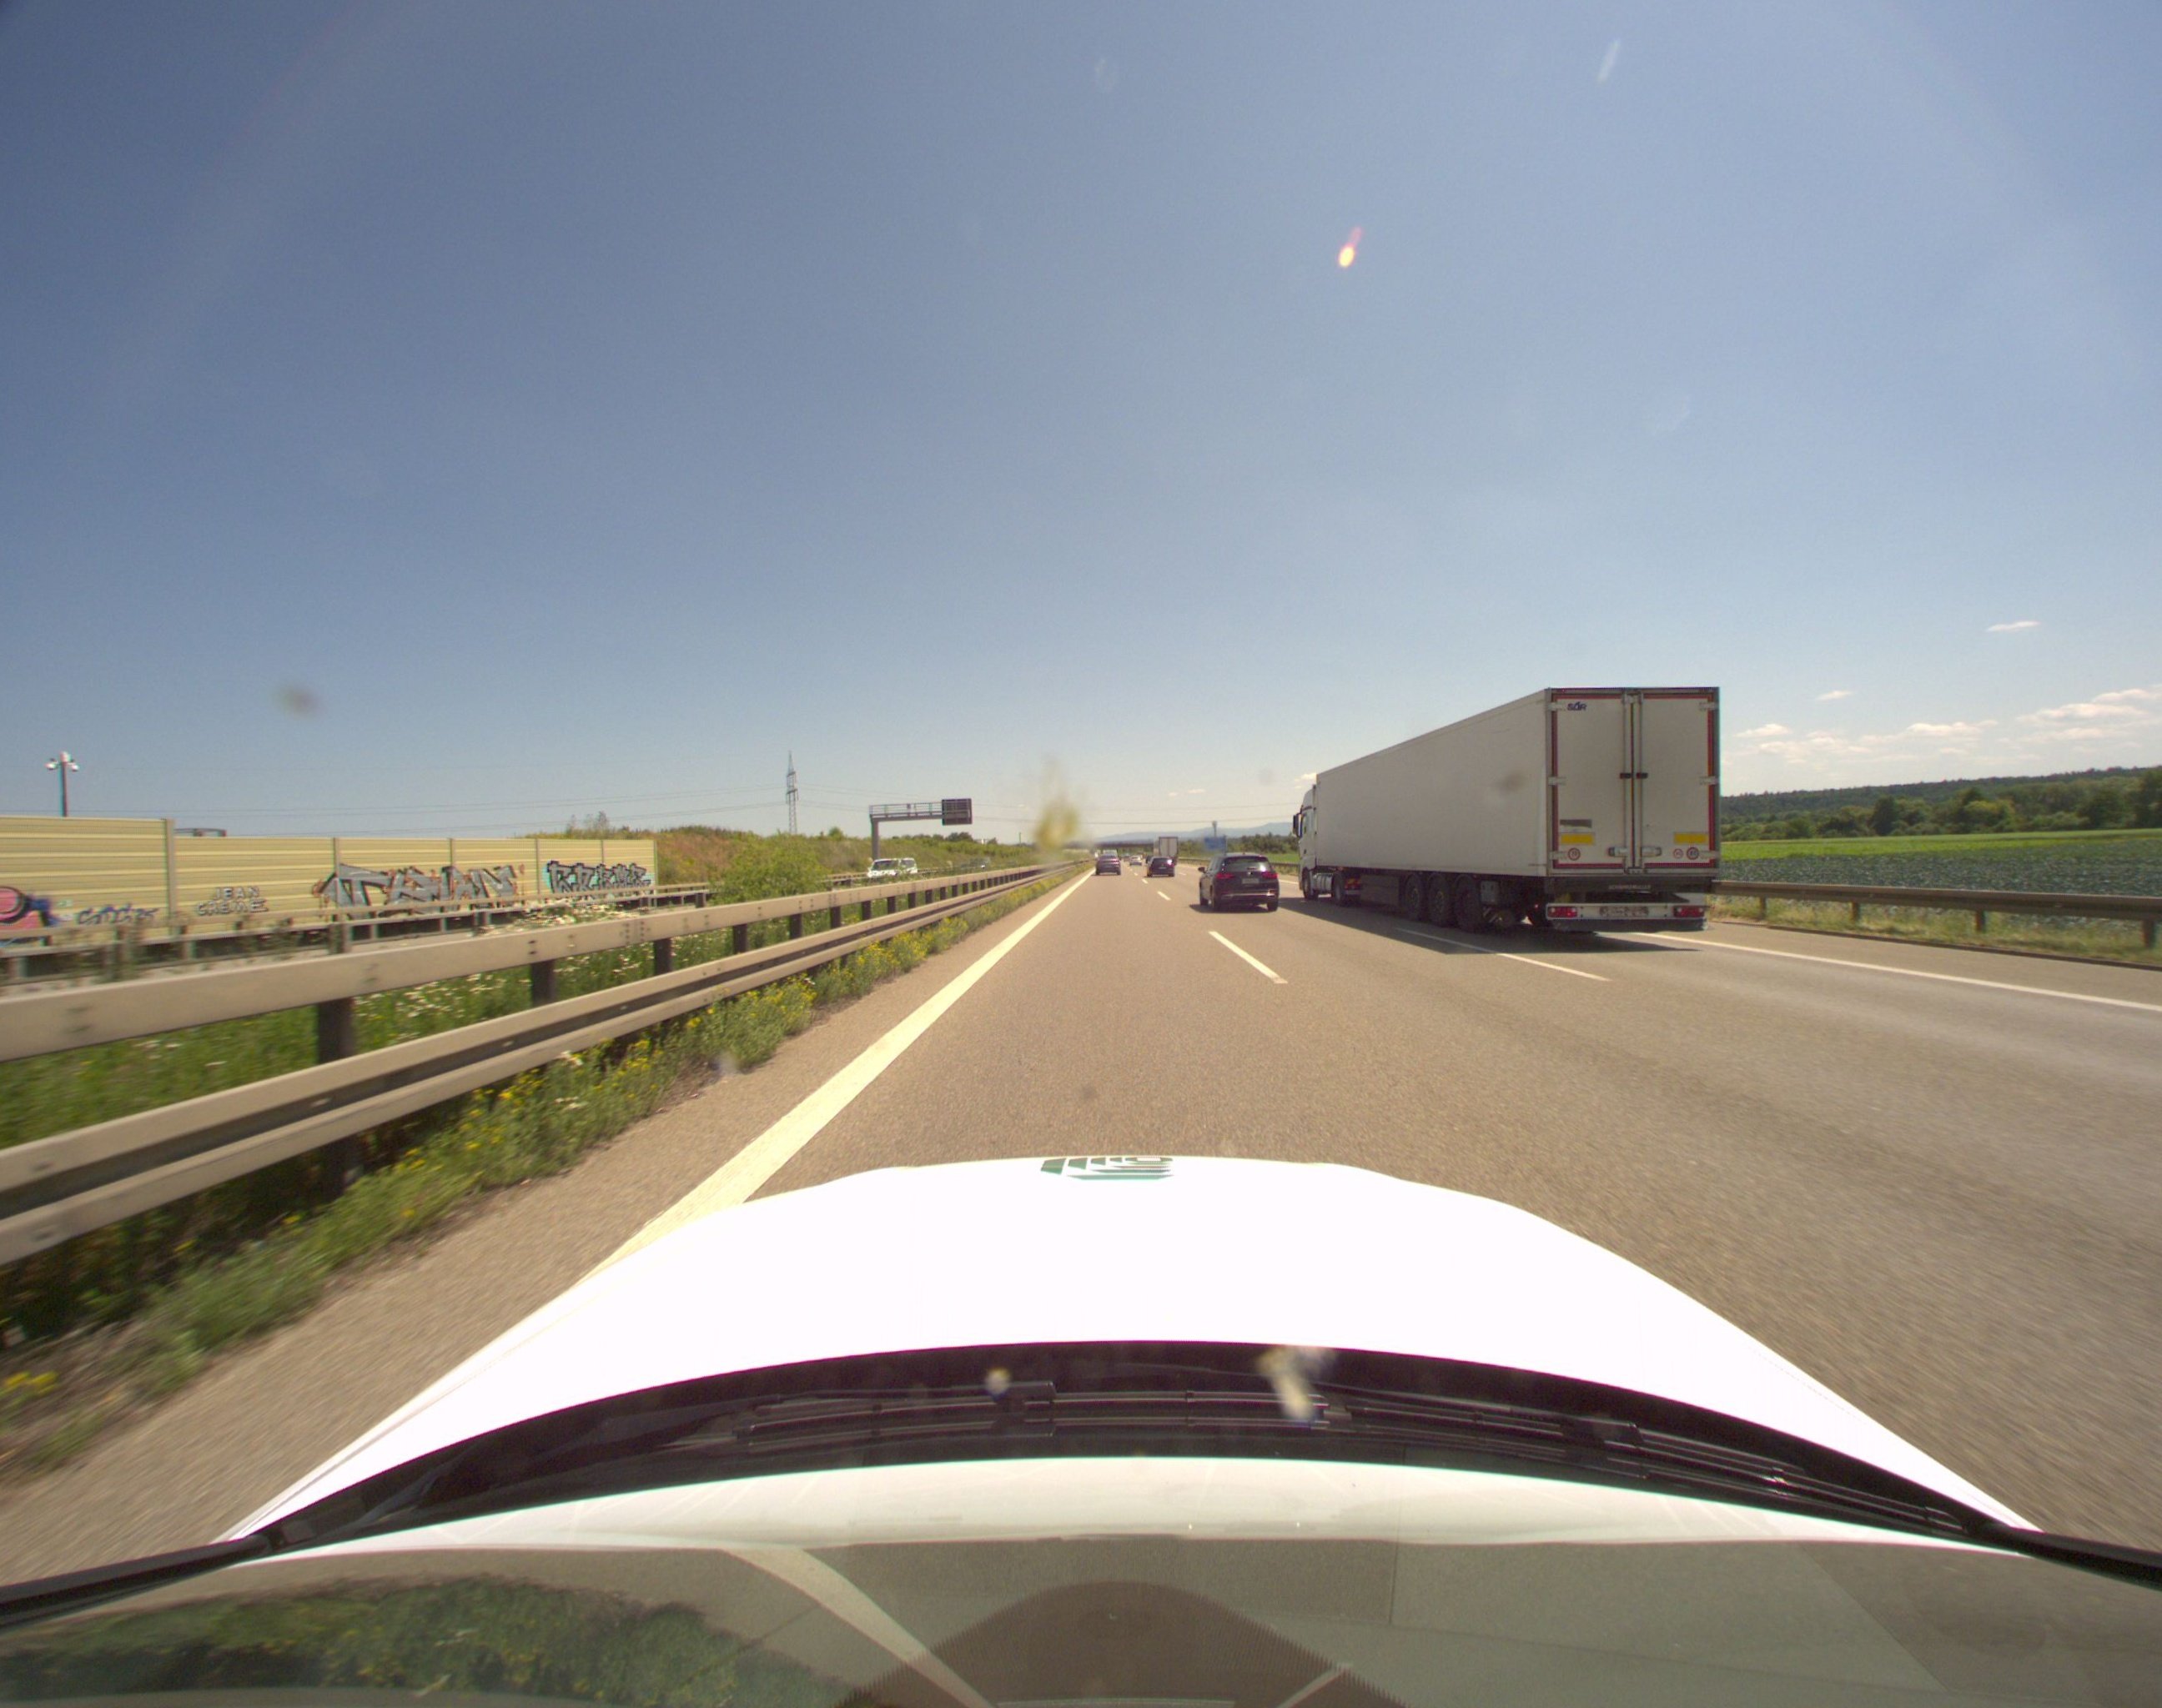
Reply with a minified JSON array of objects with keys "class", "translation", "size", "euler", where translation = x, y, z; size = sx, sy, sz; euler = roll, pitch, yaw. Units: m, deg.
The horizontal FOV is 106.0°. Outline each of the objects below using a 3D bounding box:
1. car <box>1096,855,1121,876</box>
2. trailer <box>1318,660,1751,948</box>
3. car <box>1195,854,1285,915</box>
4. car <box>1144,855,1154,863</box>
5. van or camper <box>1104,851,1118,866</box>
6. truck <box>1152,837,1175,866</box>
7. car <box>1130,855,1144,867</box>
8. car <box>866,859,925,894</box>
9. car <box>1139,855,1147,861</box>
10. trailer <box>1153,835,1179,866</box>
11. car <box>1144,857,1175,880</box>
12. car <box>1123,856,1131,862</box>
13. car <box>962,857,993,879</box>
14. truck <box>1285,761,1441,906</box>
[{"class":"car","translation":[2.150,0.903,64.900],"size":[1.845,1.664,3.733],"euler":[0,-1,-1]},{"class":"trailer","translation":[8.573,-0.674,18.586],"size":[2.857,4.220,13.299],"euler":[0,-1,2]},{"class":"car","translation":[4.406,0.810,23.073],"size":[1.791,1.562,3.822],"euler":[0,-1,-1]},{"class":"car","translation":[14.435,1.166,172.837],"size":[1.985,1.683,4.002],"euler":[0,-1,2]},{"class":"van or camper","translation":[4.675,0.706,125.285],"size":[2.102,2.211,5.268],"euler":[0,-1,3]},{"class":"truck","translation":[12.341,-0.265,122.402],"size":[2.967,4.228,7.692],"euler":[0,-1,3]},{"class":"car","translation":[8.250,1.023,120.908],"size":[1.985,1.683,4.002],"euler":[0,-1,2]},{"class":"car","translation":[-10.979,1.312,48.574],"size":[1.986,1.962,5.916],"euler":[0,-1,2]},{"class":"car","translation":[18.076,1.185,237.830],"size":[1.985,1.683,4.002],"euler":[0,-1,2]},{"class":"trailer","translation":[12.041,-0.387,116.195],"size":[2.931,4.198,13.604],"euler":[0,-1,3]},{"class":"car","translation":[5.563,1.008,58.246],"size":[1.926,1.574,4.936],"euler":[0,-1,2]},{"class":"car","translation":[11.581,1.299,207.176],"size":[1.985,1.683,4.002],"euler":[0,-1,2]},{"class":"car","translation":[-10.190,1.388,80.896],"size":[1.986,1.940,5.858],"euler":[-4,-1,2]},{"class":"truck","translation":[8.818,-0.544,26.432],"size":[2.852,4.091,6.881],"euler":[0,-1,1]}]
